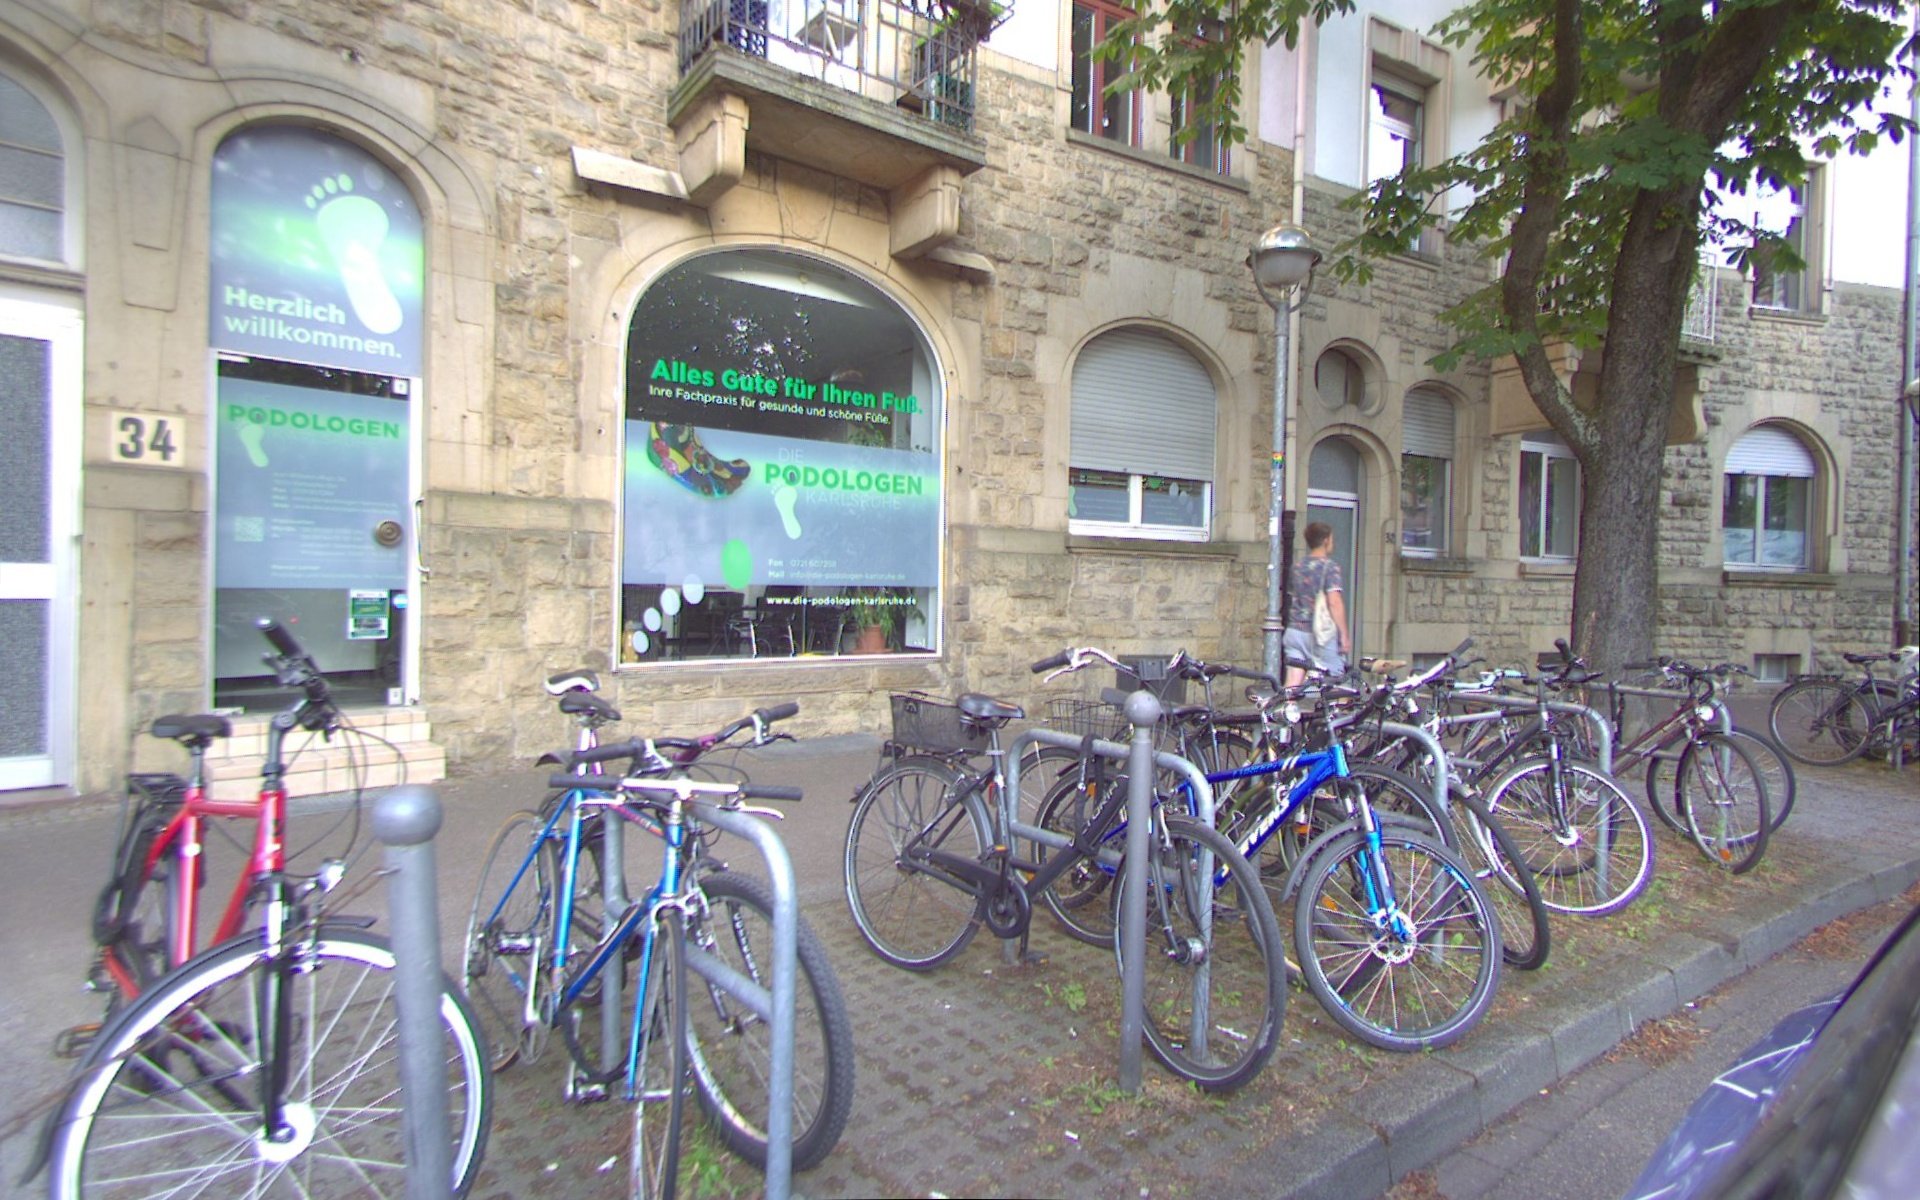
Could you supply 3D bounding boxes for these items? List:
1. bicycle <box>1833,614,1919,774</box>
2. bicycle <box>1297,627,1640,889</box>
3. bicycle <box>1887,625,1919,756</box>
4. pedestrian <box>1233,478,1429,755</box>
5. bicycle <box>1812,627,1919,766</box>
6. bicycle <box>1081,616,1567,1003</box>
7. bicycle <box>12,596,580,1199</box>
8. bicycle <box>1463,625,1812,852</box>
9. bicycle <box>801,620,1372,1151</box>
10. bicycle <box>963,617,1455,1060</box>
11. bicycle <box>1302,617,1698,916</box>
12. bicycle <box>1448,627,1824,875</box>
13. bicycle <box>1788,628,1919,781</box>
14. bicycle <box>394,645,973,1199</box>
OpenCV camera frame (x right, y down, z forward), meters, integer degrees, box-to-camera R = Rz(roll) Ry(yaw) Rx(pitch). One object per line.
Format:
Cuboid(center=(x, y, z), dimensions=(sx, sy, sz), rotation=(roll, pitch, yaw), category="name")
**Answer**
Cuboid(center=(8.111, 0.796, 7.962), dimensions=(0.482, 1.231, 1.890), rotation=(-5, 3, -17), category="bicycle")
Cuboid(center=(2.643, 0.746, 5.481), dimensions=(0.476, 1.091, 1.678), rotation=(1, 2, -27), category="bicycle")
Cuboid(center=(8.981, 0.844, 8.442), dimensions=(0.410, 1.159, 1.860), rotation=(1, 2, -17), category="bicycle")
Cuboid(center=(3.064, 0.113, 8.410), dimensions=(1.039, 2.111, 1.015), rotation=(2, 1, -31), category="pedestrian")
Cuboid(center=(8.429, 0.846, 8.497), dimensions=(0.563, 1.118, 1.853), rotation=(0, 2, -40), category="bicycle")
Cuboid(center=(1.406, 0.706, 4.315), dimensions=(0.691, 1.177, 1.893), rotation=(1, 2, -33), category="bicycle")
Cuboid(center=(-1.510, 0.649, 2.121), dimensions=(0.688, 1.252, 1.789), rotation=(0, 2, -43), category="bicycle")
Cuboid(center=(4.010, 0.750, 6.137), dimensions=(0.477, 1.091, 1.676), rotation=(1, 2, -34), category="bicycle")
Cuboid(center=(0.283, 0.708, 3.346), dimensions=(0.630, 1.177, 1.887), rotation=(0, 2, -43), category="bicycle")
Cuboid(center=(0.800, 0.703, 3.877), dimensions=(0.628, 1.177, 1.893), rotation=(1, 2, -33), category="bicycle")
Cuboid(center=(2.553, 0.725, 5.017), dimensions=(0.476, 1.142, 1.678), rotation=(8, -1, -26), category="bicycle")
Cuboid(center=(3.699, 0.750, 5.695), dimensions=(0.477, 1.091, 1.676), rotation=(1, 2, -34), category="bicycle")
Cuboid(center=(7.695, 0.840, 7.857), dimensions=(0.482, 1.154, 1.887), rotation=(5, -2, -30), category="bicycle")
Cuboid(center=(-0.846, 0.717, 2.654), dimensions=(0.688, 1.051, 1.803), rotation=(0, 2, -43), category="bicycle")
